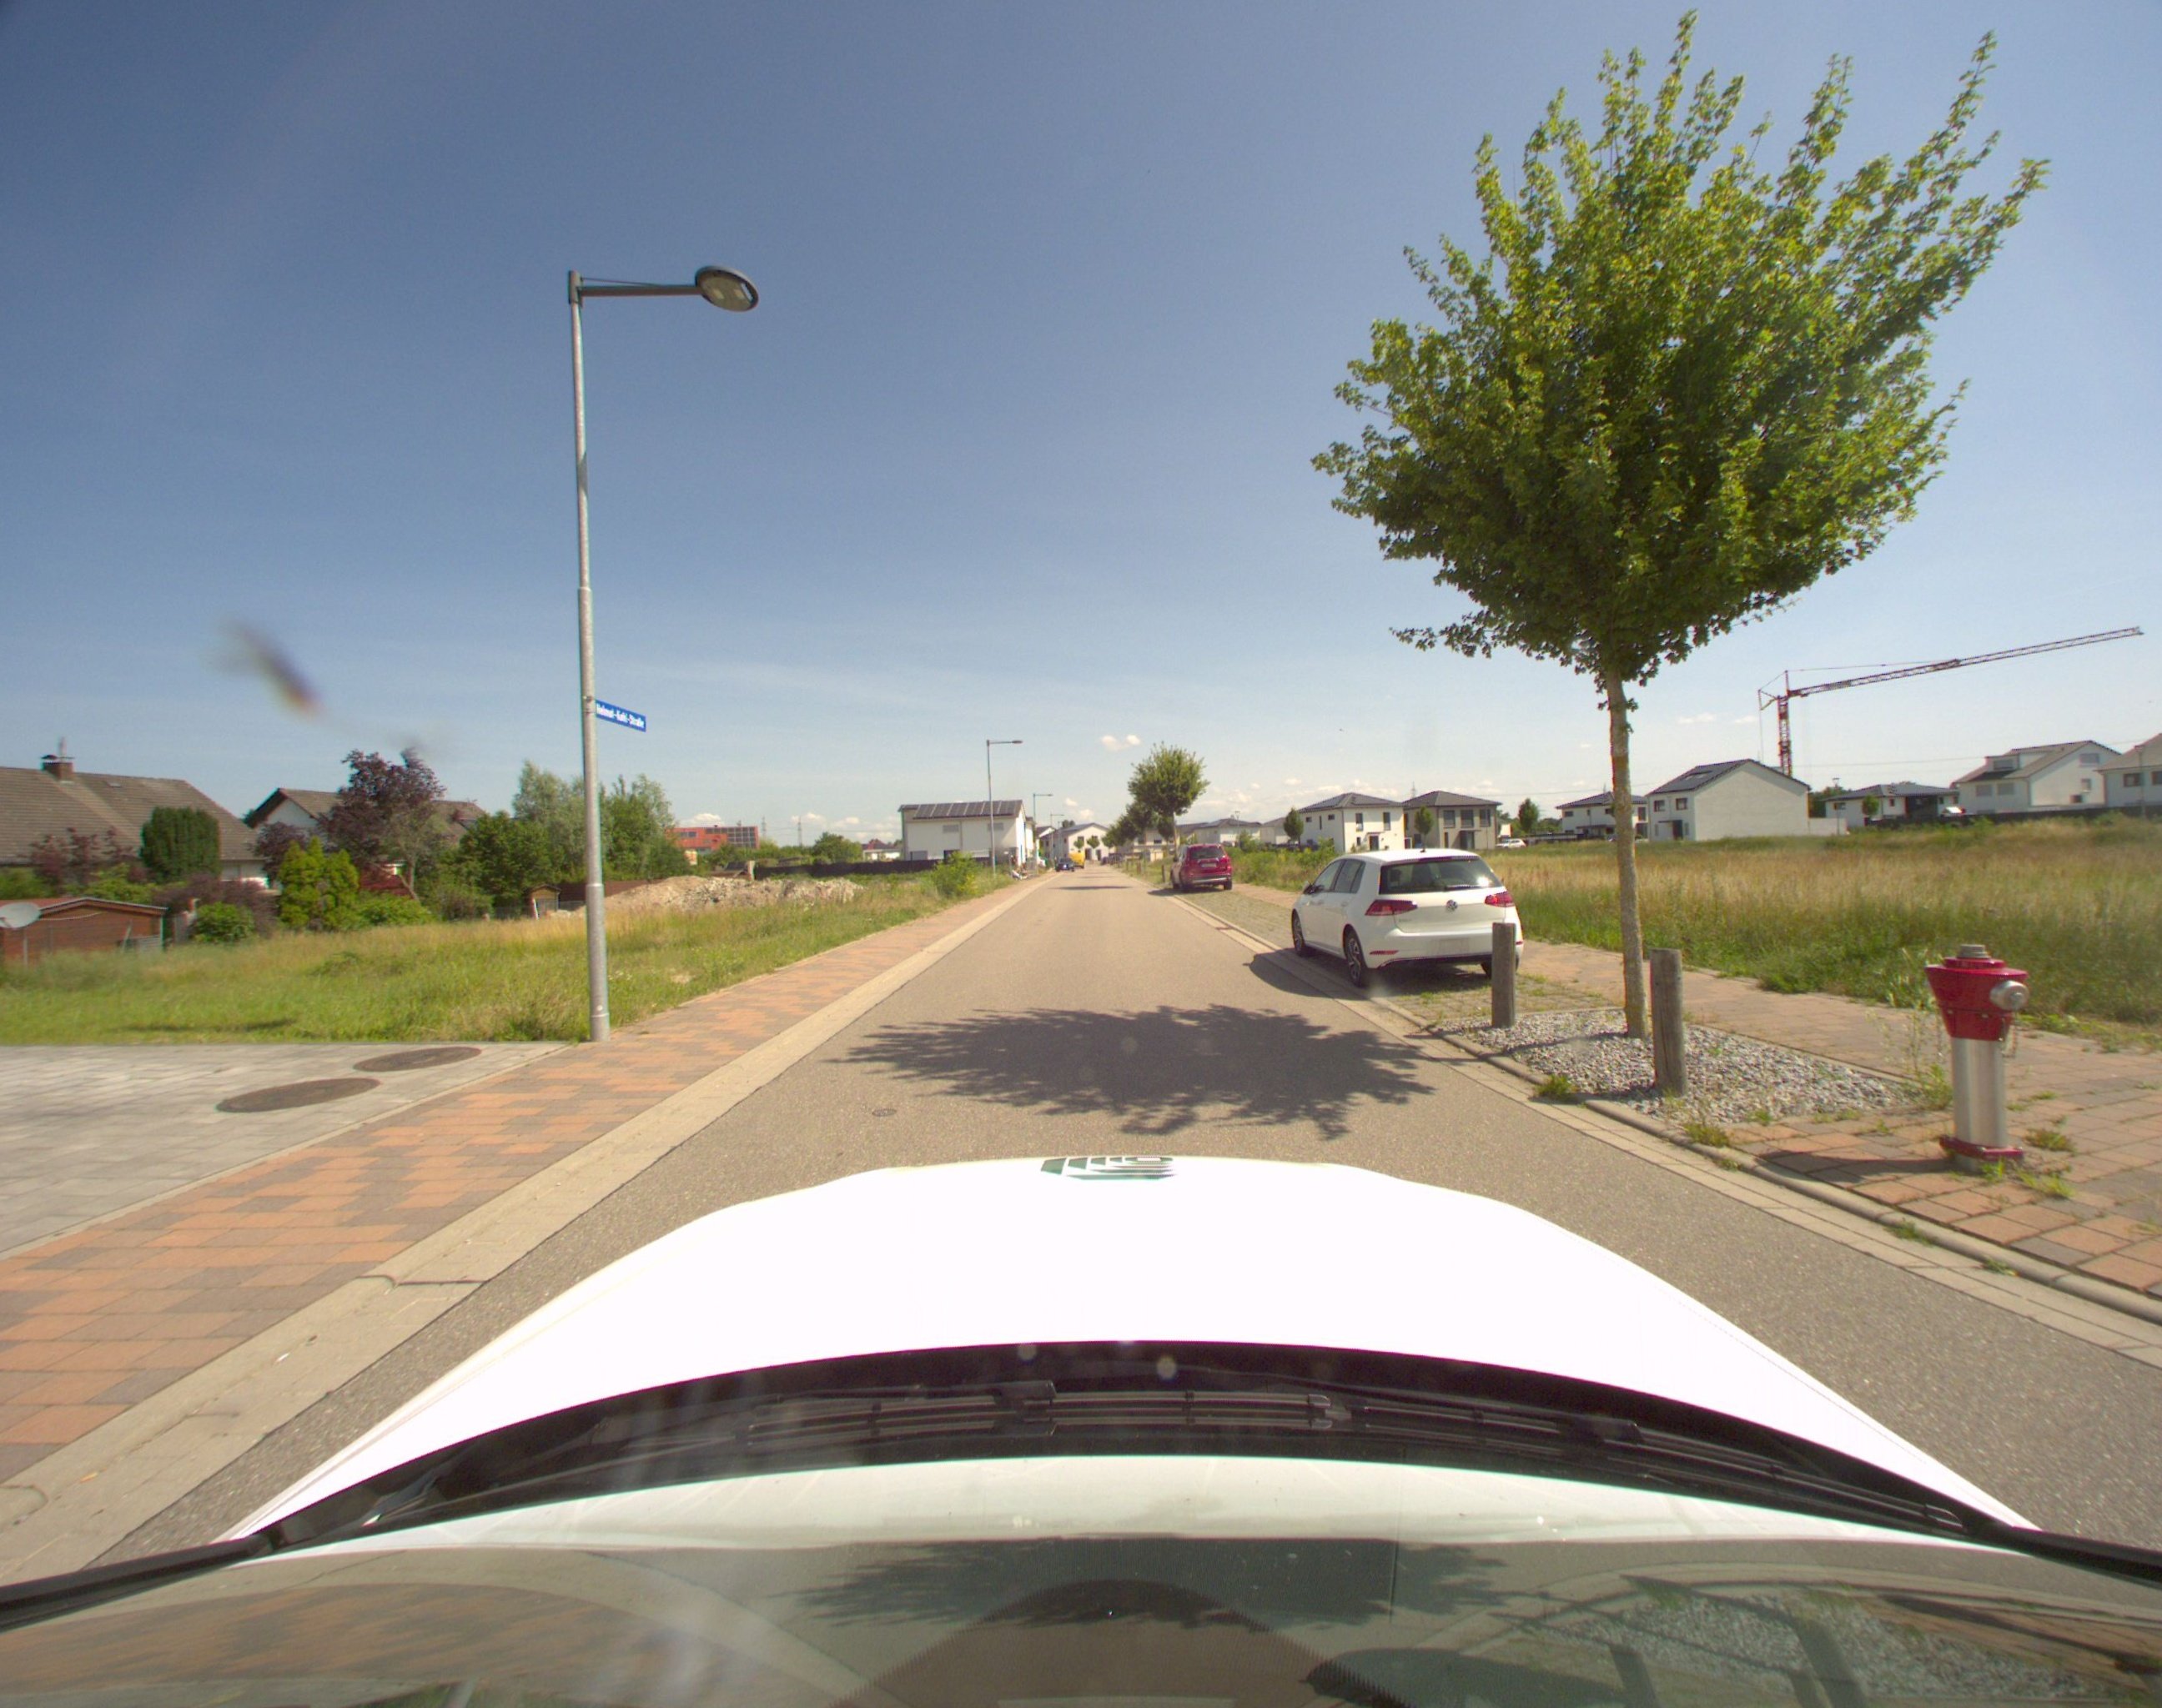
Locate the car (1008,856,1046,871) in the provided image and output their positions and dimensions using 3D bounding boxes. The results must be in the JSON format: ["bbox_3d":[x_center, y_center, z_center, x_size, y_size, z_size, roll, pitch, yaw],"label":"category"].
[{"bbox_3d":[-6.135,1.108,92.349,4.048,1.581,1.787,-1,1,6],"label":"car"}]

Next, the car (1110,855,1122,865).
[{"bbox_3d":[5.258,0.880,122.061,1.634,1.403,3.809,-2,-2,-1],"label":"car"}]

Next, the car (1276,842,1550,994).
[{"bbox_3d":[3.866,0.637,10.345,1.769,1.420,4.166,-4,0,1],"label":"car"}]

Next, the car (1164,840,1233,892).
[{"bbox_3d":[4.220,0.385,29.870,1.771,1.663,4.433,-4,0,0],"label":"car"}]

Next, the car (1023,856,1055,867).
[{"bbox_3d":[-5.807,1.054,112.725,4.168,1.505,1.806,2,-1,-16],"label":"car"}]

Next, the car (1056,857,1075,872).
[{"bbox_3d":[-1.518,1.034,81.819,1.739,1.405,4.159,0,0,0],"label":"car"}]

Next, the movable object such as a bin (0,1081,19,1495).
[{"bbox_3d":[-2.831,1.026,1.667,0.622,0.948,0.499,-2,-1,-5],"label":"movable object such as a bin"}]

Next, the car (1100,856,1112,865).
[{"bbox_3d":[4.293,1.138,140.673,1.626,1.322,3.825,-2,-2,-6],"label":"car"}]

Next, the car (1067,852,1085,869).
[{"bbox_3d":[-0.632,0.845,101.992,1.937,1.981,4.211,-2,-1,-3],"label":"car"}]
